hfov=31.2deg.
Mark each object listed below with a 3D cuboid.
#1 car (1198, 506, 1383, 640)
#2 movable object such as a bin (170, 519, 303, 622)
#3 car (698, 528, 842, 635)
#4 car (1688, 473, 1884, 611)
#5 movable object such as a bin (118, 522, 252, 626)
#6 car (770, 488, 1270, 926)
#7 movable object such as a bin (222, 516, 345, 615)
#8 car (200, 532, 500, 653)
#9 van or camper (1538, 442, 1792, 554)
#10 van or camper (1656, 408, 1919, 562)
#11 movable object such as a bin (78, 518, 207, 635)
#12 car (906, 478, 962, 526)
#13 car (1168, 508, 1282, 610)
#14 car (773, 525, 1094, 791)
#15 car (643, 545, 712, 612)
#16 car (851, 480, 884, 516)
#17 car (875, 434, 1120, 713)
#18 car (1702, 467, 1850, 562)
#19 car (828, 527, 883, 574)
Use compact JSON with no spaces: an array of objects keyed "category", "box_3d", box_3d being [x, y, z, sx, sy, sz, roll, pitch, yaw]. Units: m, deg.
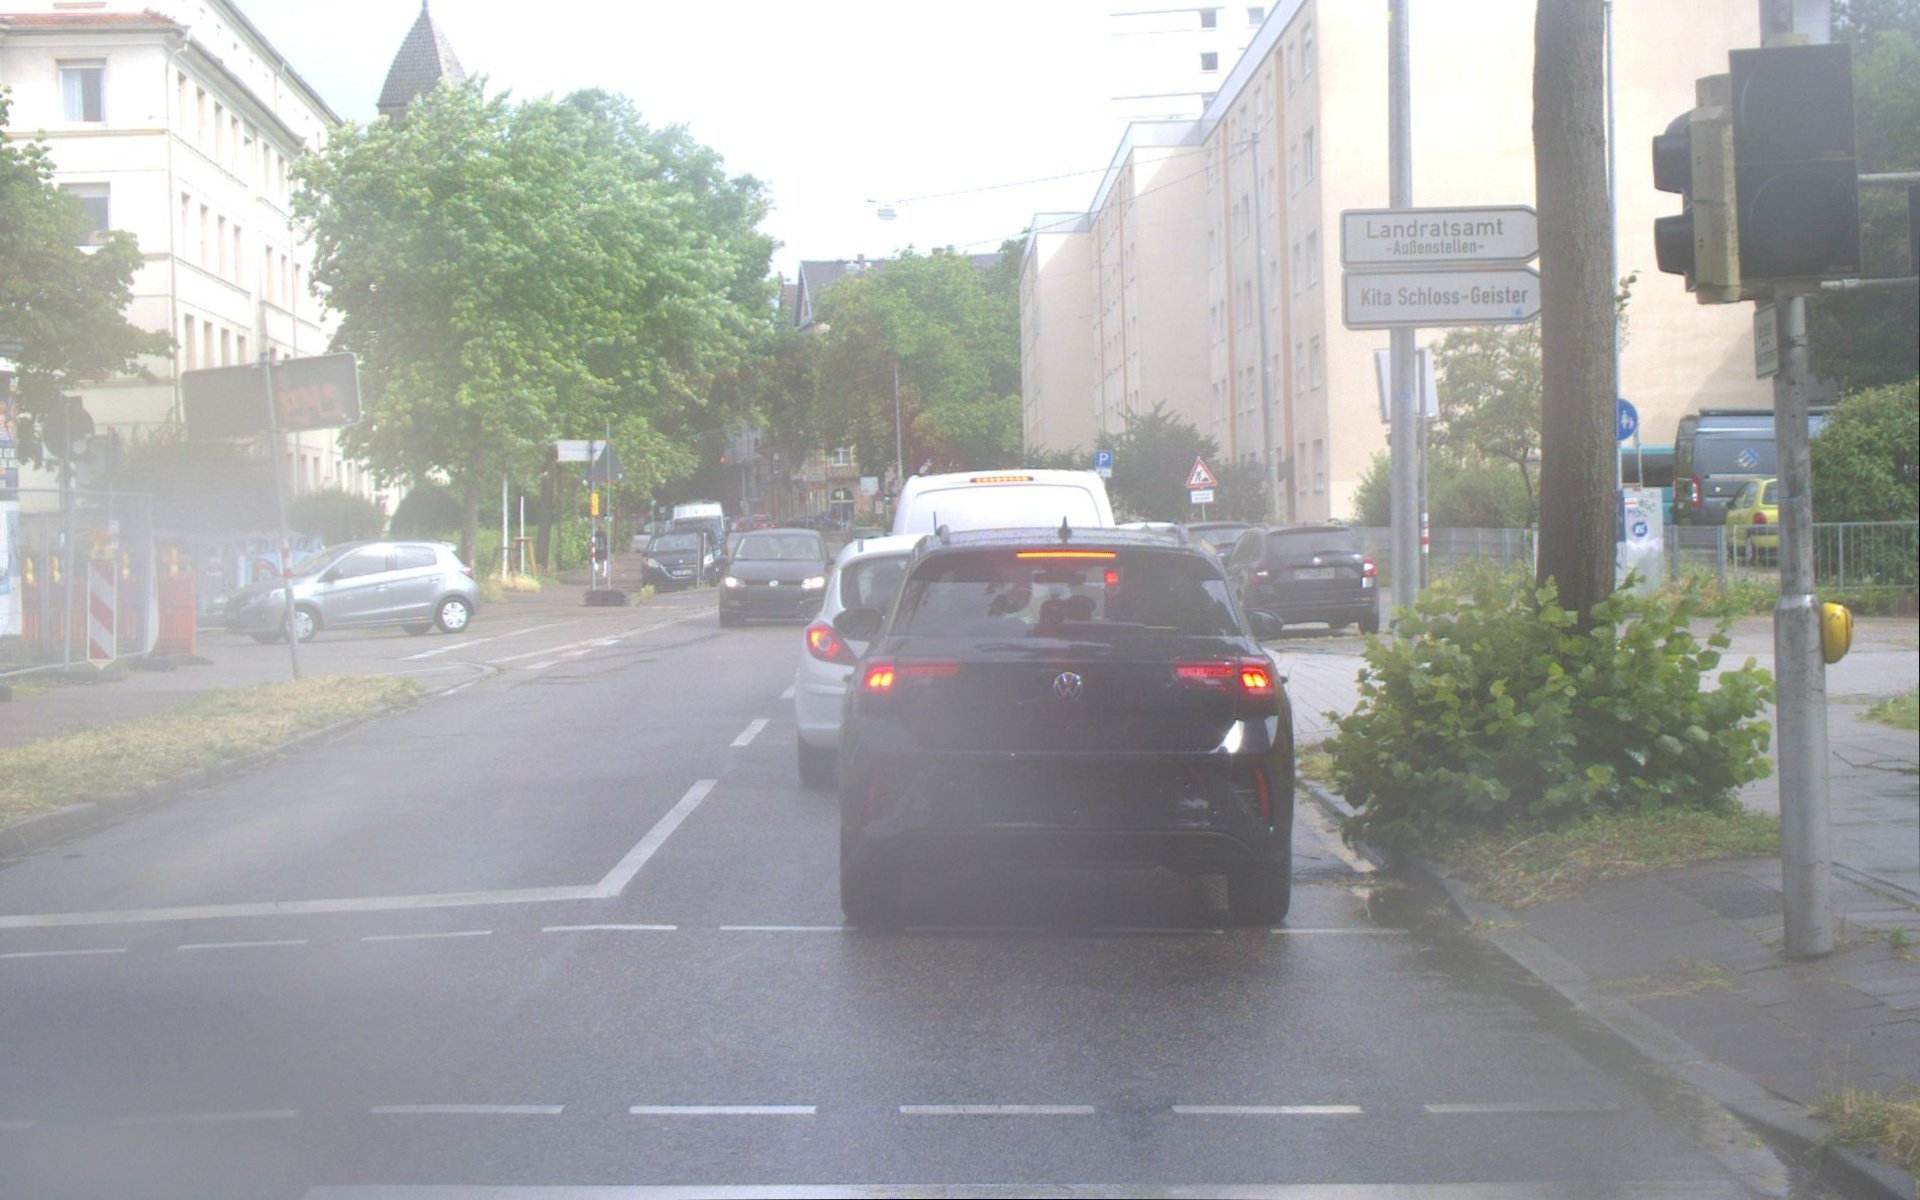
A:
[{"category":"car","box_3d":[4.233,-0.388,44.671,1.774,1.534,4.379,-4,2,-1]},{"category":"movable object such as a bin","box_3d":[-12.433,-0.514,59.121,1.539,1.668,1.664,-1,2,19]},{"category":"car","box_3d":[-2.813,-0.286,51.686,1.813,1.535,3.982,-1,1,2]},{"category":"car","box_3d":[11.352,-0.822,47.498,1.804,1.744,4.238,-2,1,2]},{"category":"movable object such as a bin","box_3d":[-12.966,-0.439,57.563,1.539,1.650,1.526,-1,2,19]},{"category":"car","box_3d":[0.216,0.377,14.985,1.873,1.640,4.062,0,1,0]},{"category":"movable object such as a bin","box_3d":[-11.930,-0.610,60.633,1.539,1.656,1.457,-1,2,19]},{"category":"car","box_3d":[-9.213,-0.116,51.983,3.987,1.631,1.895,-3,0,-31]},{"category":"van or camper","box_3d":[14.346,-2.085,70.163,4.760,2.124,2.321,-1,2,4]},{"category":"van or camper","box_3d":[14.863,-1.986,59.952,4.998,2.545,2.175,-1,0,2]},{"category":"movable object such as a bin","box_3d":[-13.317,-0.394,56.024,1.539,1.818,1.262,-1,2,19]},{"category":"car","box_3d":[-0.915,-3.532,123.947,1.841,1.602,3.675,-3,1,1]},{"category":"car","box_3d":[4.301,-0.640,56.174,1.757,1.522,3.999,2,0,4]},{"category":"car","box_3d":[-0.156,0.311,21.554,1.813,1.498,4.000,0,1,0]},{"category":"car","box_3d":[-6.963,-0.545,84.681,1.585,1.500,4.065,-3,2,-5]},{"category":"car","box_3d":[-5.028,-5.542,186.964,1.665,1.831,4.001,-2,2,-2]},{"category":"car","box_3d":[0.345,-0.219,27.991,1.836,2.095,4.000,0,1,2]},{"category":"car","box_3d":[13.298,-1.401,56.164,1.610,1.444,3.417,-2,1,1]},{"category":"car","box_3d":[-3.795,-1.816,124.884,1.740,1.602,3.675,-3,1,1]}]
